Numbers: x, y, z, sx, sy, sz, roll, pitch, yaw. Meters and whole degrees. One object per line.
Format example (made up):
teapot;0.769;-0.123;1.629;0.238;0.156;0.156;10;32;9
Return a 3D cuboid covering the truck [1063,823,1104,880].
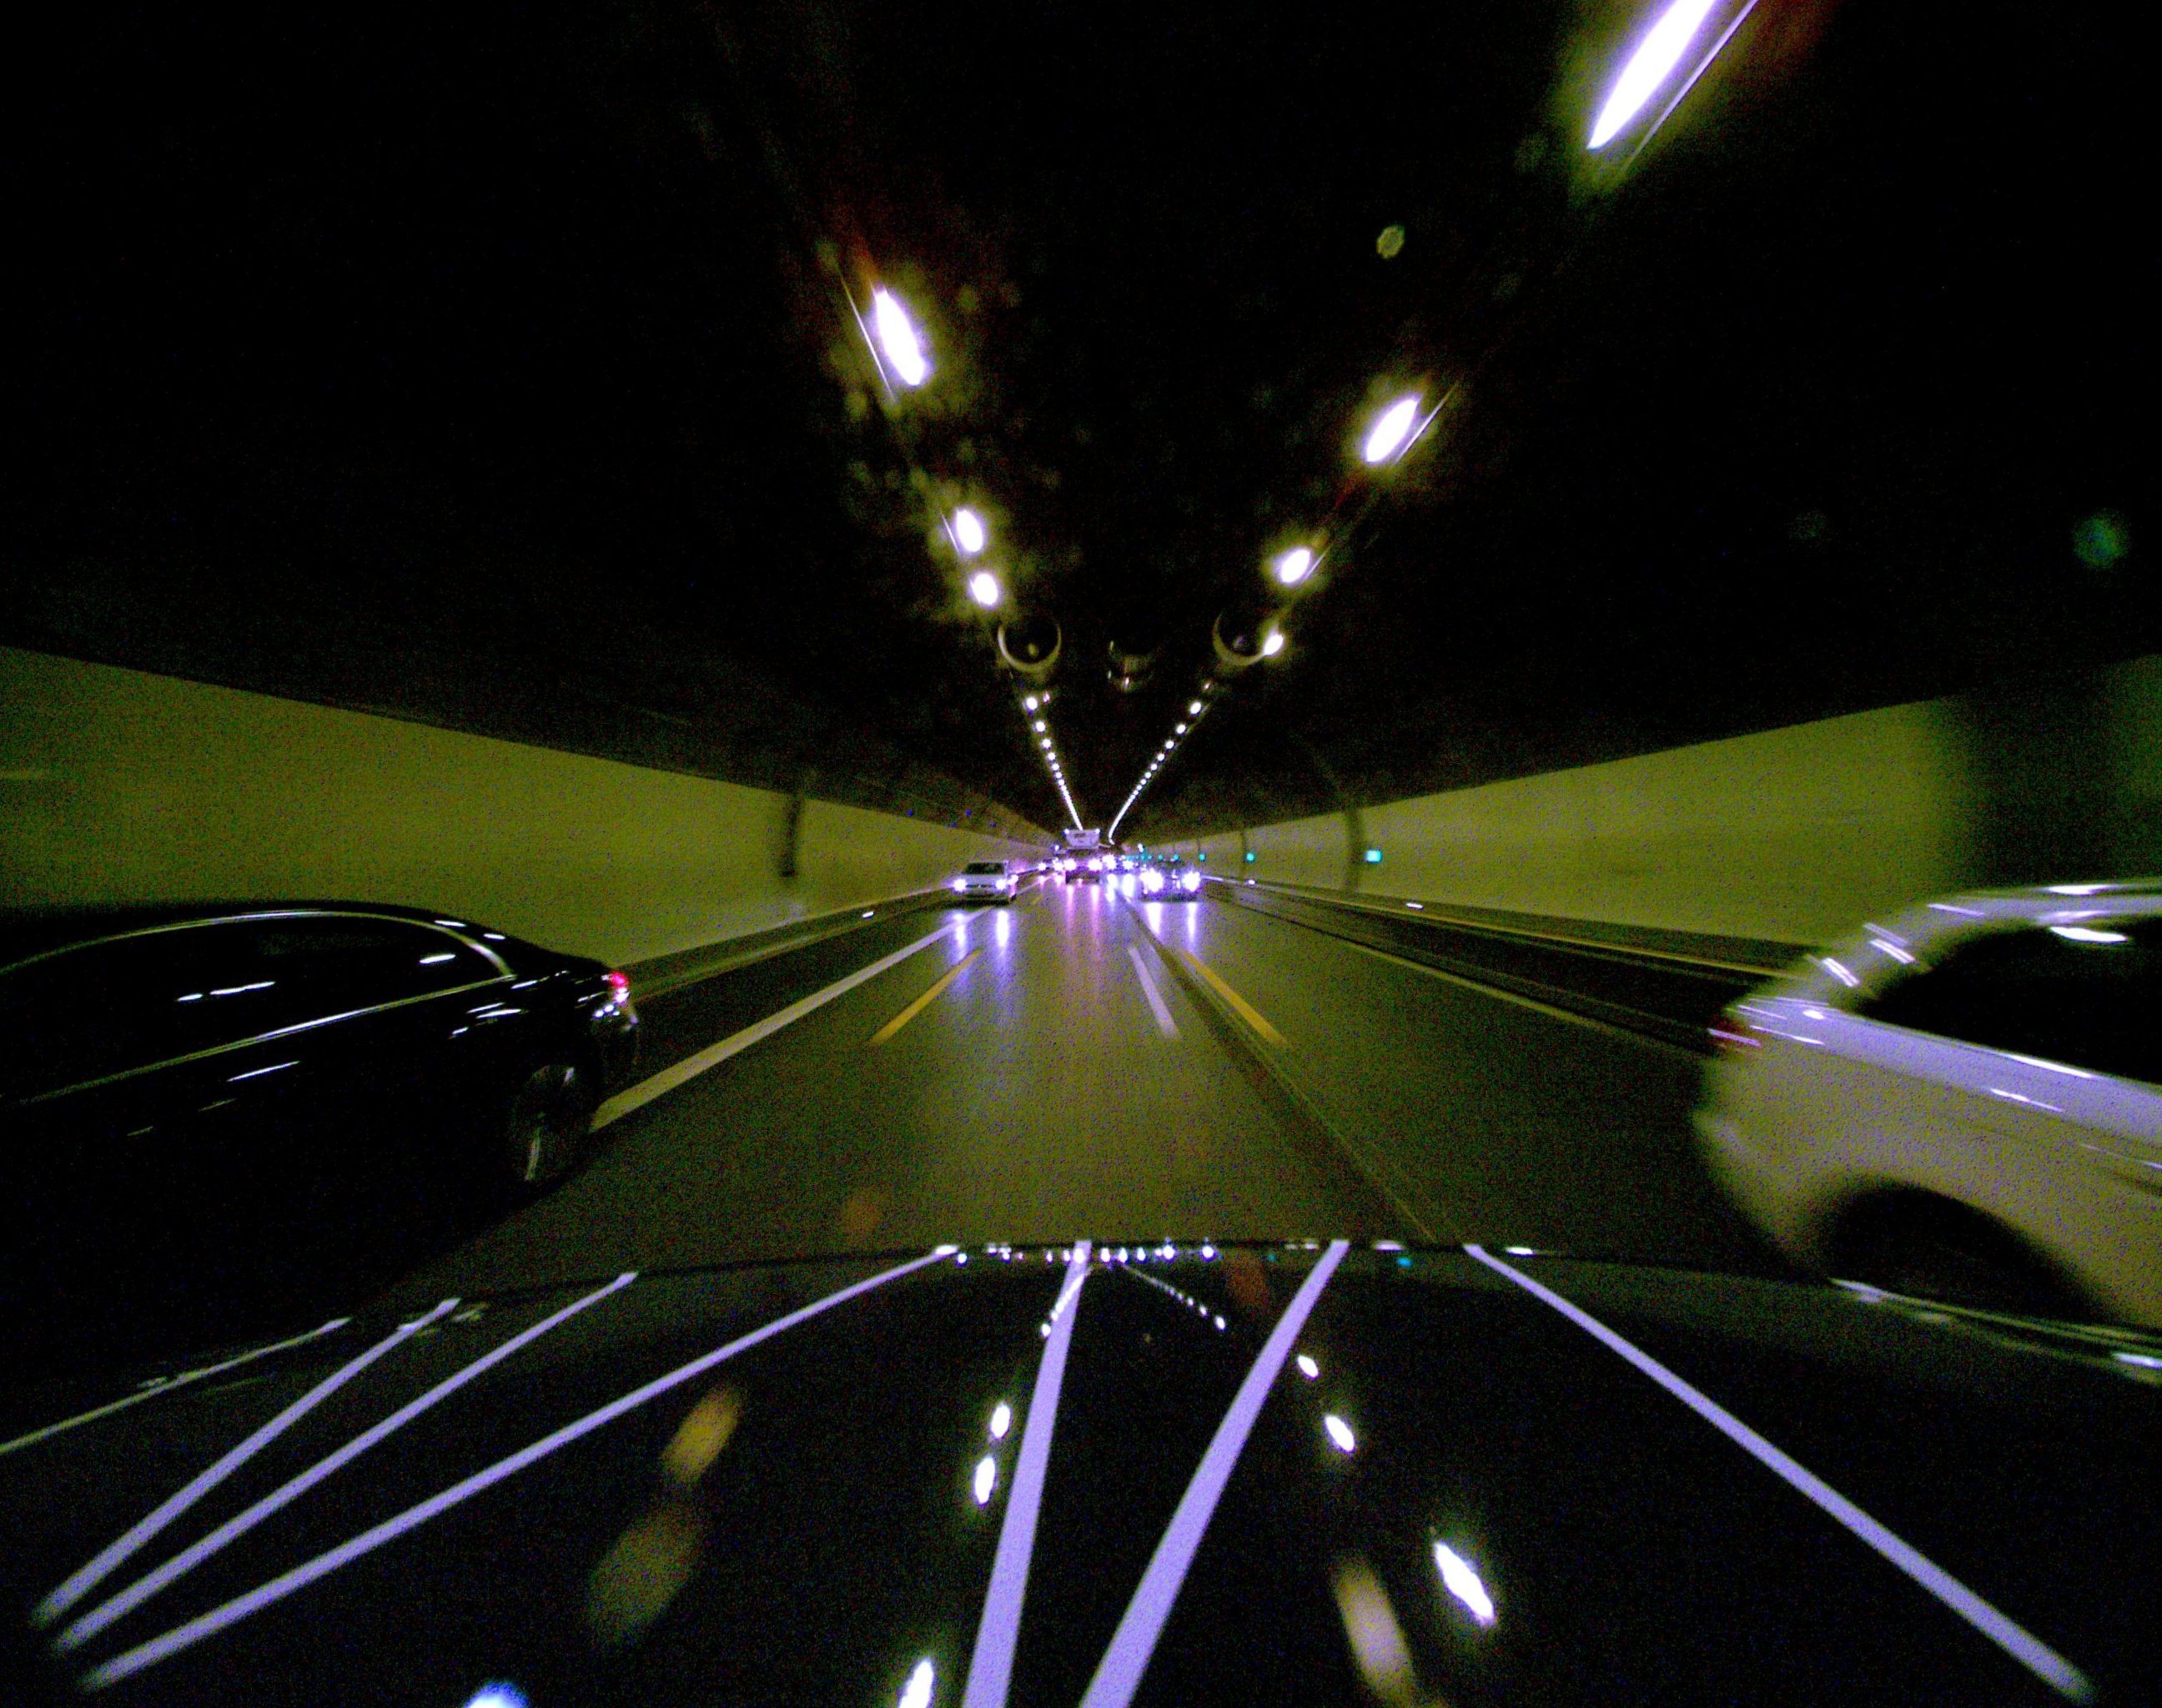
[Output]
truck;0.216;-0.178;47.379;2.262;3.238;7.383;-2;0;1

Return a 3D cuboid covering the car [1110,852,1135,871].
car;3.815;0.670;70.374;1.958;1.527;4.758;-4;1;1

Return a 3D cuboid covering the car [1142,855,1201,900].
car;3.126;0.787;26.759;1.657;1.395;3.657;-2;0;1

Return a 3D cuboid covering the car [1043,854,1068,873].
car;-2.257;0.825;67.628;1.958;1.527;4.758;-2;1;0

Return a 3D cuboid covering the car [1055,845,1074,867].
car;-2.050;0.199;95.951;2.124;2.629;6.229;-3;1;1

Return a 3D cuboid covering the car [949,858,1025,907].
car;-3.058;0.892;25.492;1.801;1.452;4.035;-1;0;3

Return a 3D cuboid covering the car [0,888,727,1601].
car;-3.455;1.016;2.677;1.930;1.464;4.954;-2;0;1
